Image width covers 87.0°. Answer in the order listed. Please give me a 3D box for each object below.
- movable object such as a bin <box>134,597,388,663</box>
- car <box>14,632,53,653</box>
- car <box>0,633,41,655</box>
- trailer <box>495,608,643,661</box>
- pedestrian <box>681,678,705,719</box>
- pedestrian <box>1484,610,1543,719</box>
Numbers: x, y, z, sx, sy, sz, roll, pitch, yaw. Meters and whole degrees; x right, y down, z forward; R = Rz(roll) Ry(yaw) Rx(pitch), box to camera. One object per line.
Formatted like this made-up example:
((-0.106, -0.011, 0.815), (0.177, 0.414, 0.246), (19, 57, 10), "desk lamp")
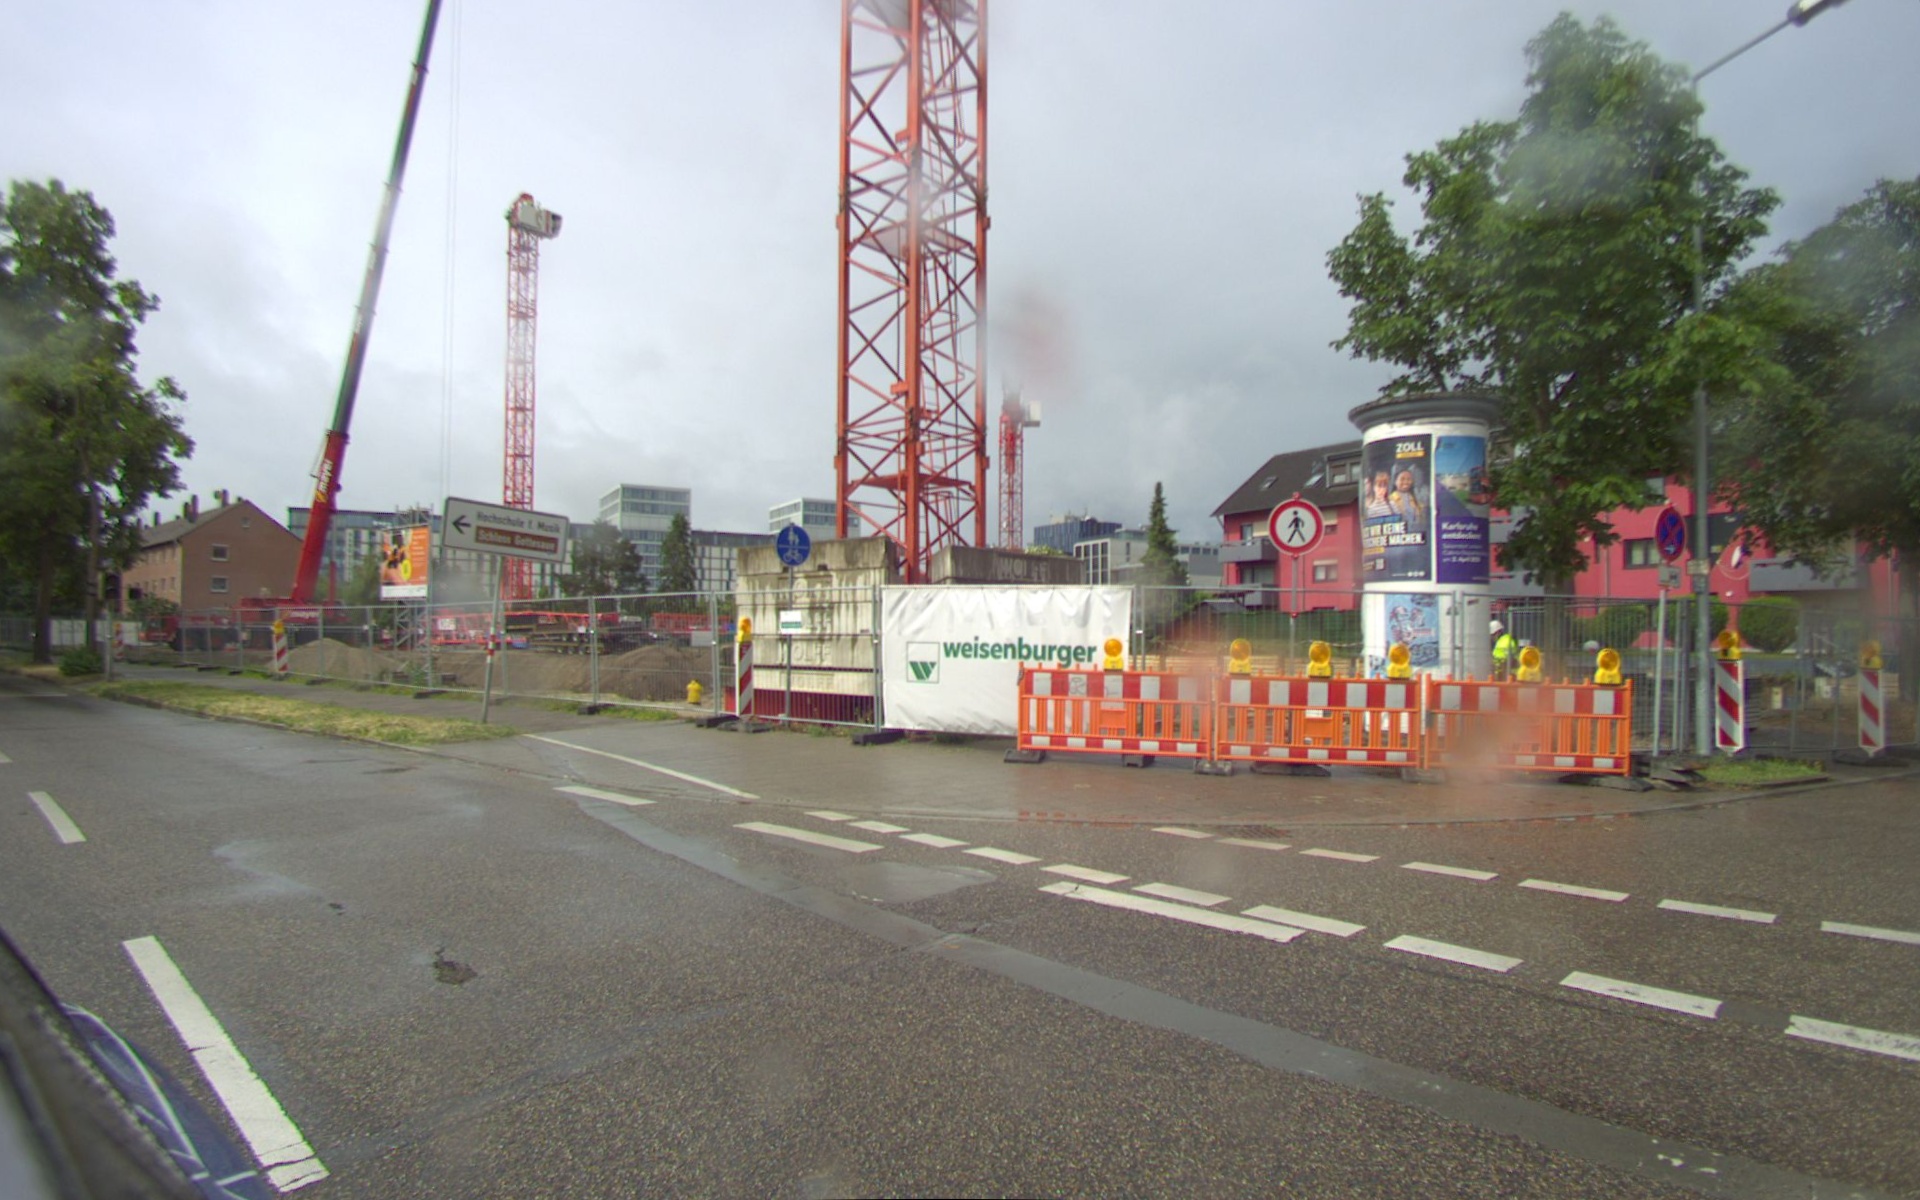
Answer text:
((-52.841, 2.119, 77.348), (3.102, 4.593, 15.731), (-1, -1, 43), "movable object such as a bin")
((-74.325, 3.395, 81.150), (3.995, 1.541, 1.673), (-1, -1, 38), "car")
((-71.865, 3.289, 76.197), (3.810, 1.564, 1.701), (0, -1, -39), "car")
((-27.329, 2.291, 70.036), (14.298, 3.257, 2.931), (-1, 1, 40), "trailer")
((-11.439, 4.196, 43.319), (0.580, 1.698, 0.849), (6, -6, -44), "pedestrian")
((8.547, 0.991, 15.622), (0.610, 1.632, 0.551), (3, -4, -34), "pedestrian")
